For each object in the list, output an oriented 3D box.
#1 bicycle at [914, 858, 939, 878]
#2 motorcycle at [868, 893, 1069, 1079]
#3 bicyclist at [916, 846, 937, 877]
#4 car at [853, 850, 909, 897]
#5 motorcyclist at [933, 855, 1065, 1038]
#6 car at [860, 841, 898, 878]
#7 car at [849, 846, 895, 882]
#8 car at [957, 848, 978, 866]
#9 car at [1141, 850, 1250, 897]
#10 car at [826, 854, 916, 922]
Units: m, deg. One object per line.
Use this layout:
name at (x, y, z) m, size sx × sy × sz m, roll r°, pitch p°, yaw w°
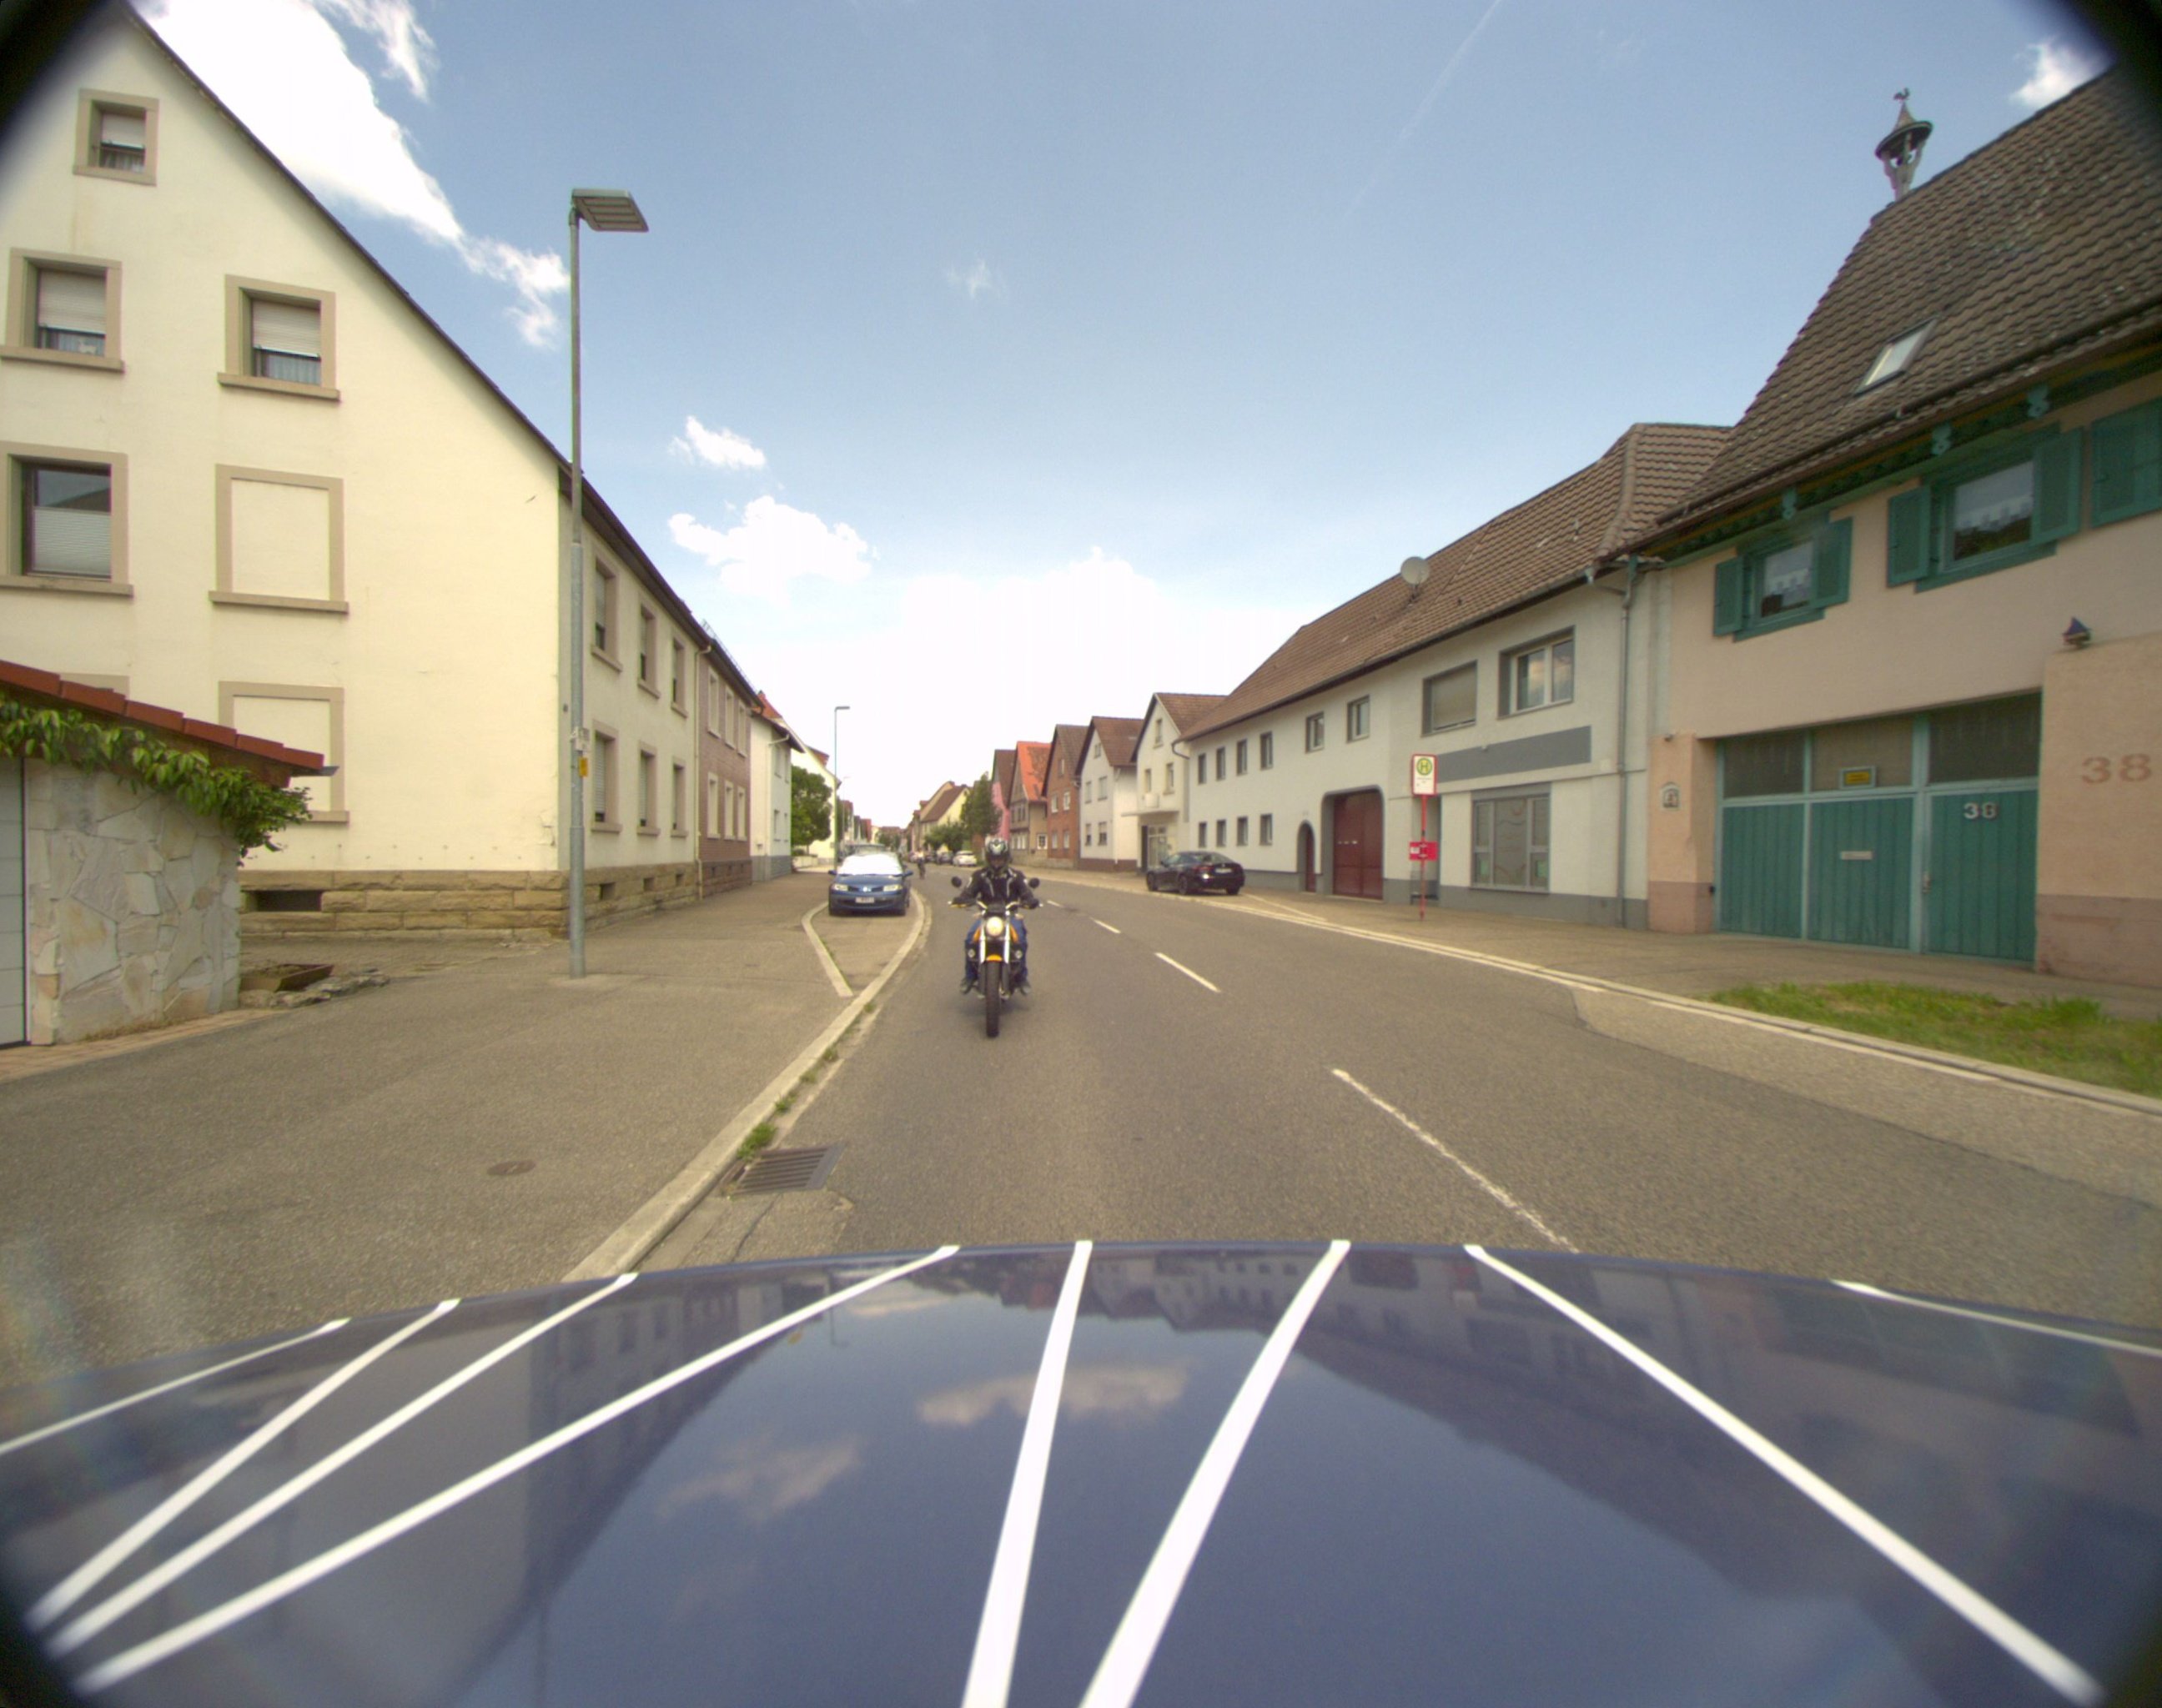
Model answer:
bicycle at (-8.385, 0.754, 41.290) m, size 0.933 × 1.005 × 1.925 m, roll -1°, pitch 0°, yaw 2°
motorcycle at (-0.867, 1.033, 6.665) m, size 0.984 × 1.233 × 2.105 m, roll -2°, pitch 0°, yaw 13°
bicyclist at (-8.389, 0.402, 41.384) m, size 0.909 × 1.679 × 0.761 m, roll -1°, pitch 2°, yaw 2°
car at (-7.087, 0.691, 27.210) m, size 1.774 × 1.520 × 3.996 m, roll -1°, pitch -1°, yaw -12°
motorcyclist at (-0.752, 0.827, 7.206) m, size 0.999 × 1.591 × 0.800 m, roll -1°, pitch 2°, yaw 13°
car at (-11.509, 0.250, 43.206) m, size 1.933 × 1.905 × 5.237 m, roll -2°, pitch 2°, yaw -15°
car at (-10.554, 0.478, 38.198) m, size 1.668 × 1.638 × 3.992 m, roll -2°, pitch 1°, yaw -23°
car at (-10.778, 0.285, 72.027) m, size 1.685 × 1.521 × 3.493 m, roll -2°, pitch 2°, yaw -13°
car at (3.604, 0.574, 24.920) m, size 1.772 × 1.341 × 4.749 m, roll -1°, pitch 0°, yaw -15°
car at (-5.084, 0.754, 18.850) m, size 1.728 × 1.378 × 3.995 m, roll 0°, pitch 2°, yaw -9°
